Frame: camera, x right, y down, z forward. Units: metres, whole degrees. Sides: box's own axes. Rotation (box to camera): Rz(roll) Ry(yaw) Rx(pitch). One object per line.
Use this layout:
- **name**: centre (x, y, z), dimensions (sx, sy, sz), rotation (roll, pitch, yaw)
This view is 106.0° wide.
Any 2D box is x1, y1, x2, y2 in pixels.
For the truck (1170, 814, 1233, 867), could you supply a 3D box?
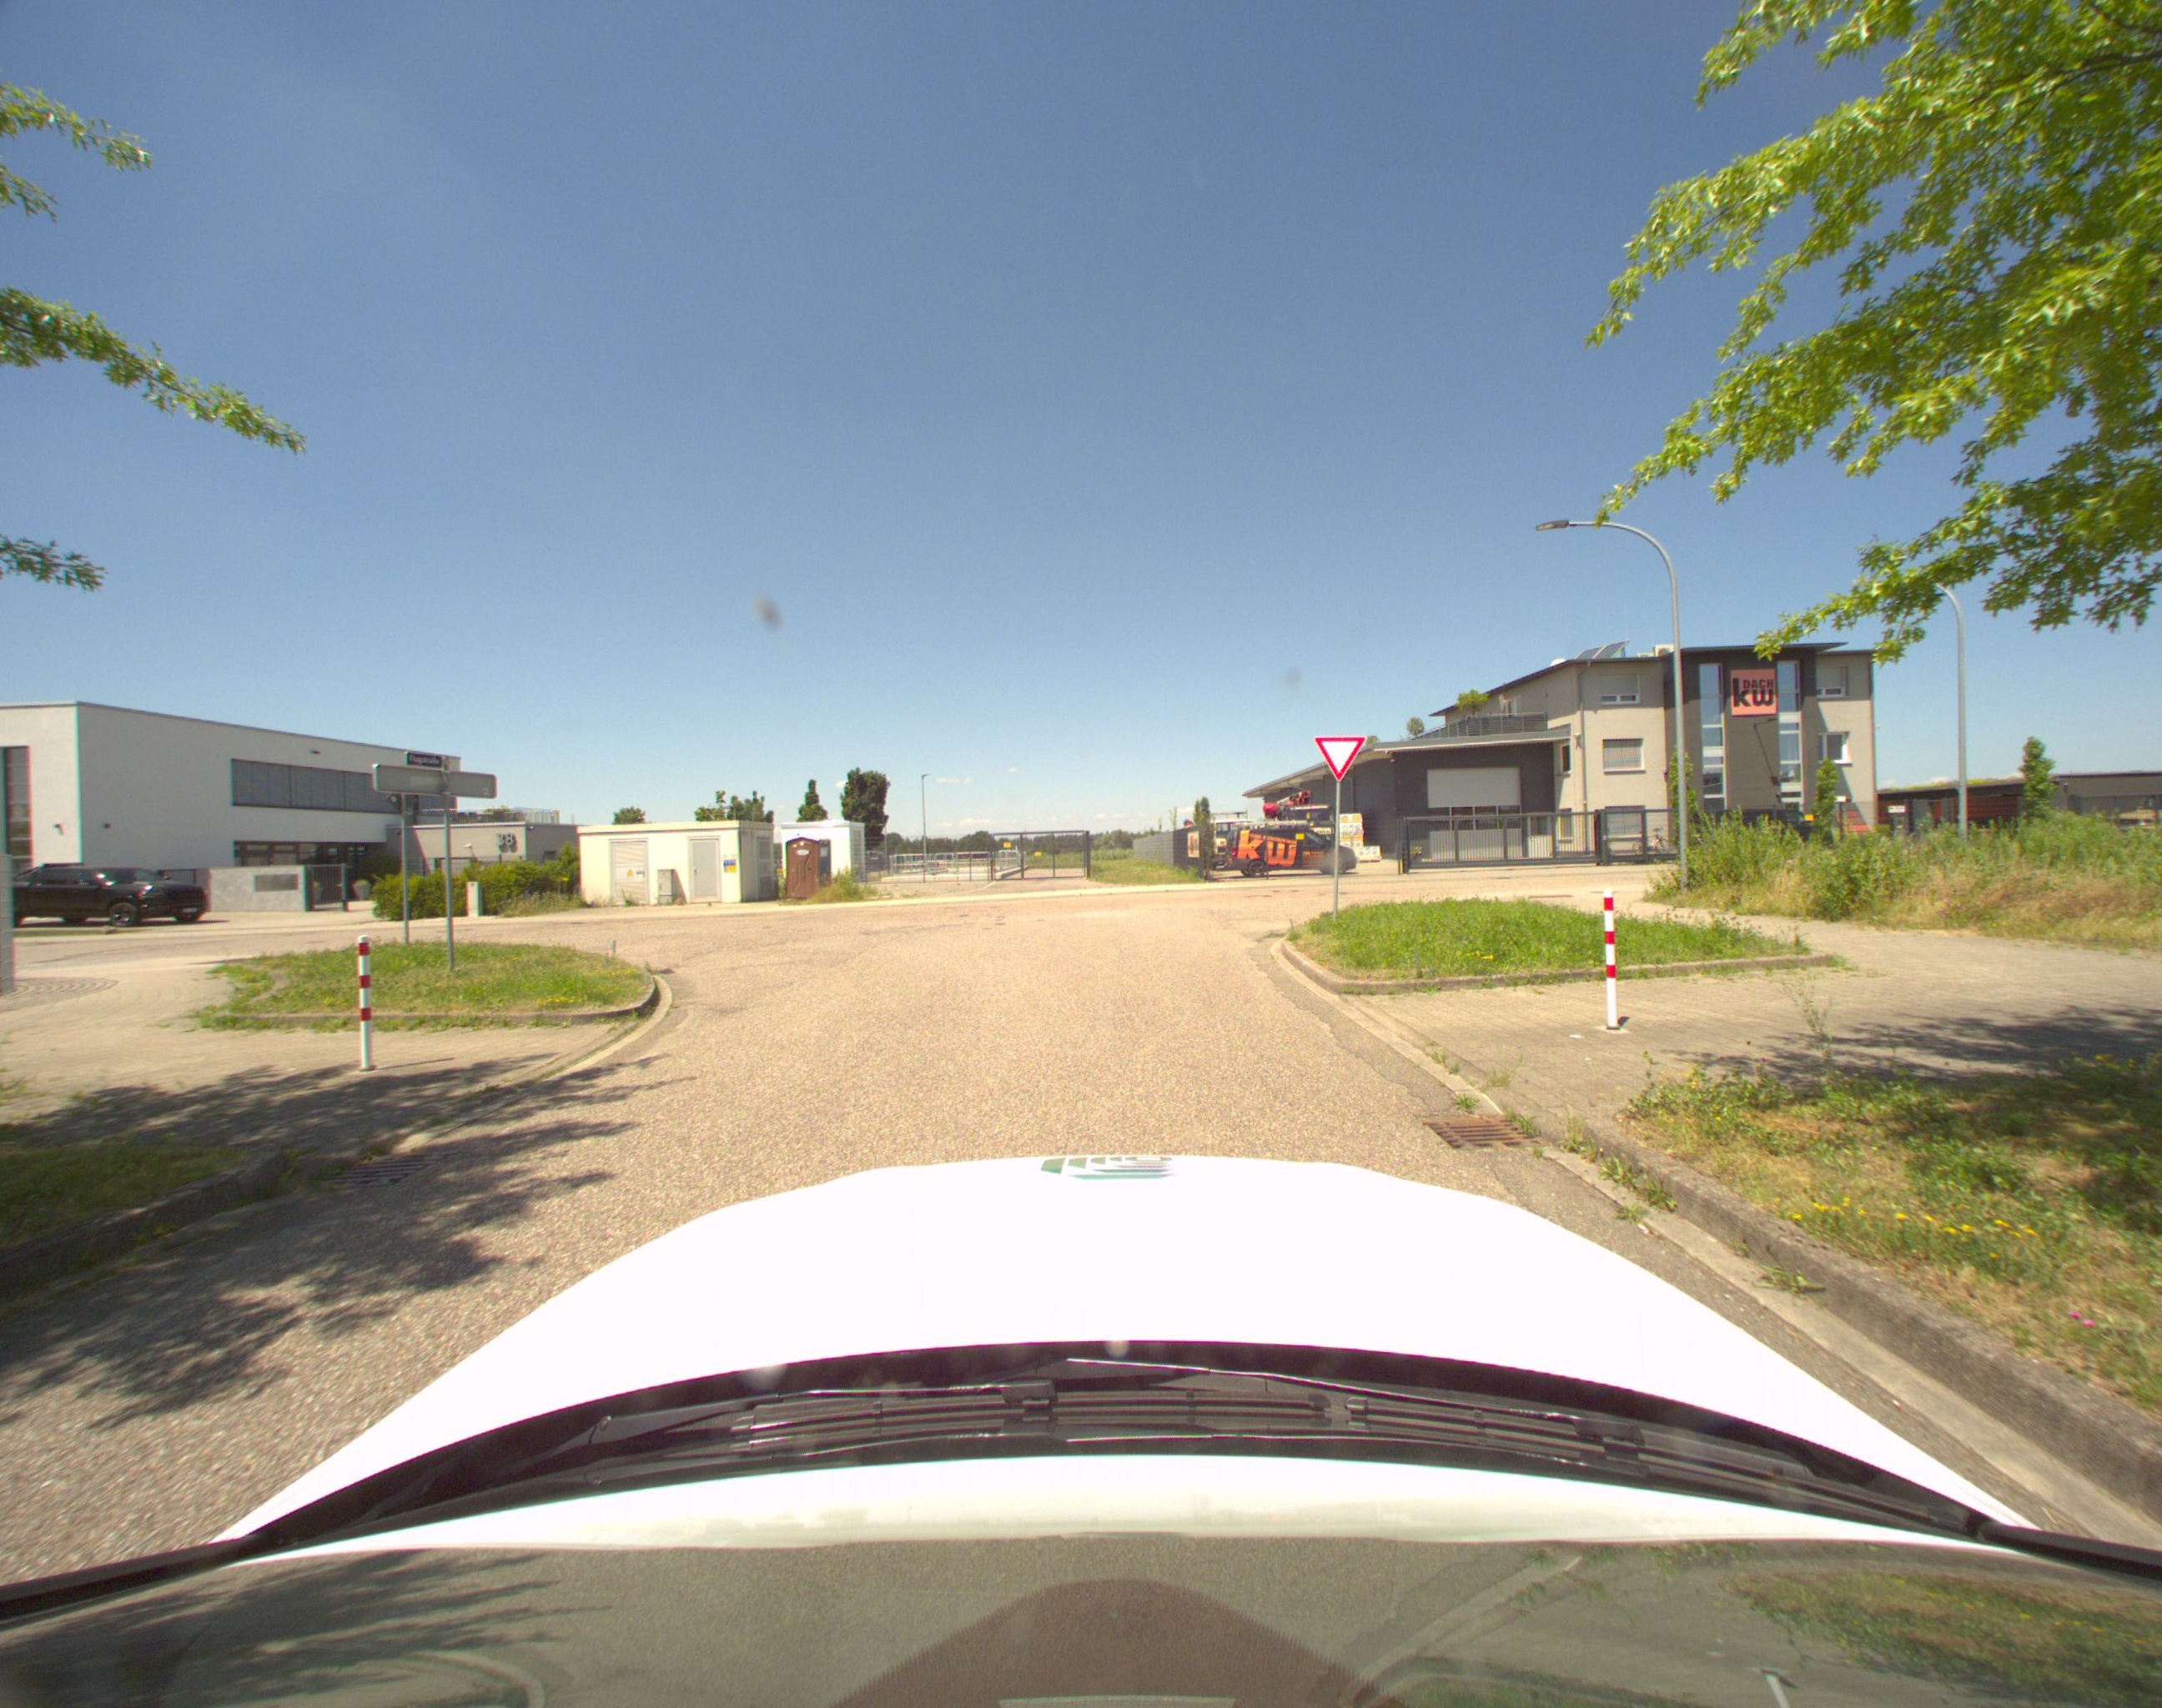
- **truck**: centre (7.339, -0.774, 50.555), dimensions (2.911, 2.937, 6.937), rotation (-2, 0, 1)

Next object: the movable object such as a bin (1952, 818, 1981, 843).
- **movable object such as a bin**: centre (32.597, -0.873, 29.991), dimensions (0.433, 0.884, 0.561), rotation (-3, 0, 2)

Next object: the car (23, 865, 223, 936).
- **car**: centre (-31.488, 1.501, 26.885), dimensions (3.977, 2.013, 1.998), rotation (-3, 0, -3)

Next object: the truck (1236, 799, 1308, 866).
- **truck**: centre (12.138, -1.311, 52.387), dimensions (2.911, 3.929, 6.937), rotation (-2, 0, 1)

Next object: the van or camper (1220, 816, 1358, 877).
- **van or camper**: centre (8.213, -0.313, 32.471), dimensions (4.919, 2.163, 2.000), rotation (-3, 1, 0)

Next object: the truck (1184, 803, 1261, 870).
- **truck**: centre (7.105, -0.848, 41.819), dimensions (2.717, 3.061, 6.937), rotation (-2, 0, 1)

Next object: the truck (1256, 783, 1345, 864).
- **truck**: centre (11.811, -1.552, 44.538), dimensions (2.911, 3.929, 6.937), rotation (-2, 0, 1)

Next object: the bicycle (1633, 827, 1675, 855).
- **bicycle**: centre (26.221, -0.598, 37.277), dimensions (1.804, 1.185, 0.442), rotation (-3, 0, -13)
